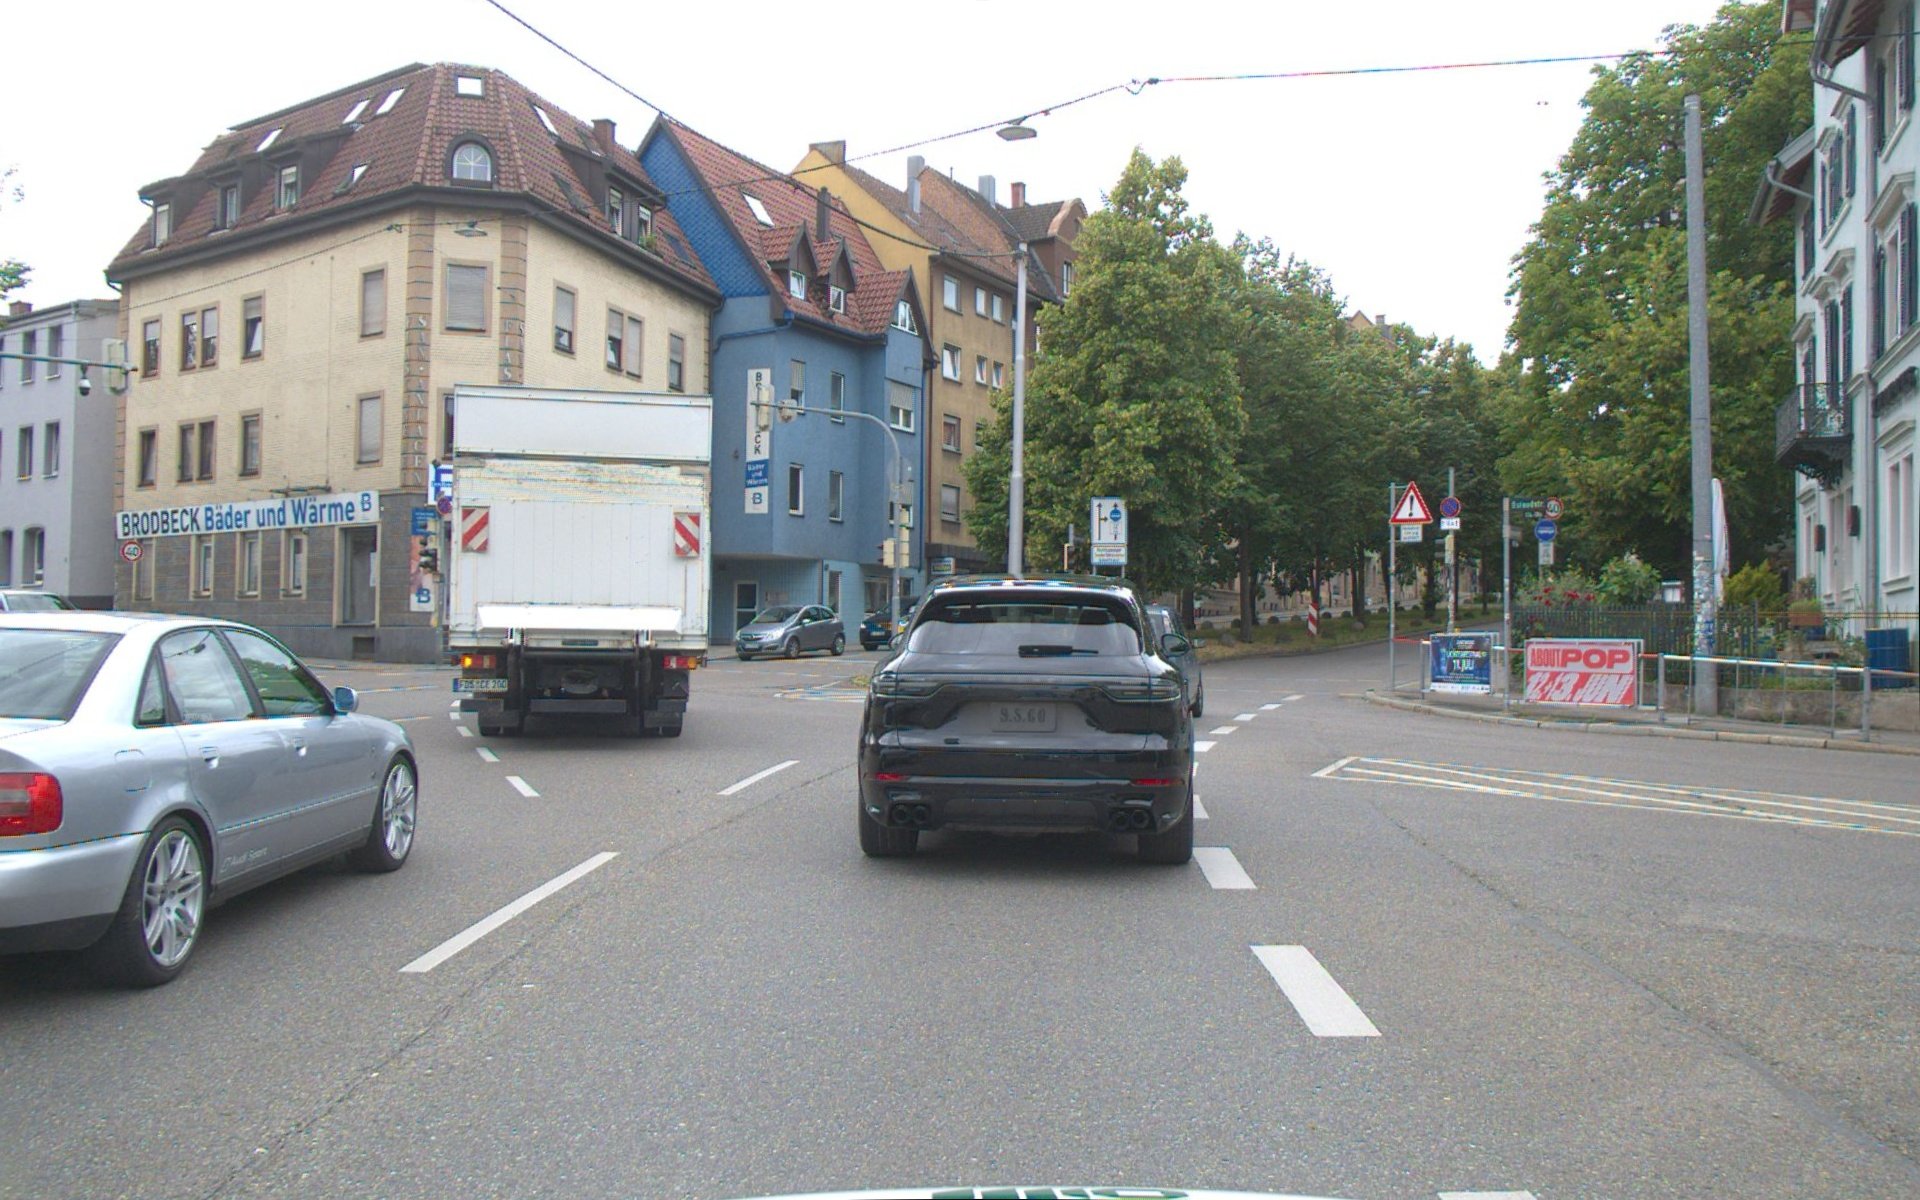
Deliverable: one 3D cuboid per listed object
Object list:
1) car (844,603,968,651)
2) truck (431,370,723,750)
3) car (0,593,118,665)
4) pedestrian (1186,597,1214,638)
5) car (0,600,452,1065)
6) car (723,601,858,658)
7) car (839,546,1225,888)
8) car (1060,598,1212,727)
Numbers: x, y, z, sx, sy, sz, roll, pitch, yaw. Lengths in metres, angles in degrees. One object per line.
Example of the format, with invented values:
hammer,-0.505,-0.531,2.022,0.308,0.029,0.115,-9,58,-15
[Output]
car,-1.643,0.811,51.863,1.834,1.441,4.692,0,0,28
truck,-4.433,-0.365,20.192,2.676,3.606,8.400,1,0,-10
car,-20.419,0.630,36.594,3.903,1.495,1.870,0,-2,41
pedestrian,12.343,0.885,85.146,1.168,2.049,0.988,1,0,25
car,-3.704,0.733,7.283,1.595,1.389,4.128,2,0,0
car,-4.613,0.810,45.567,1.683,1.502,4.213,-1,-1,28
car,0.441,0.600,10.936,1.989,1.753,4.501,1,0,2
car,2.518,0.826,22.980,1.613,1.583,3.585,2,-1,13
